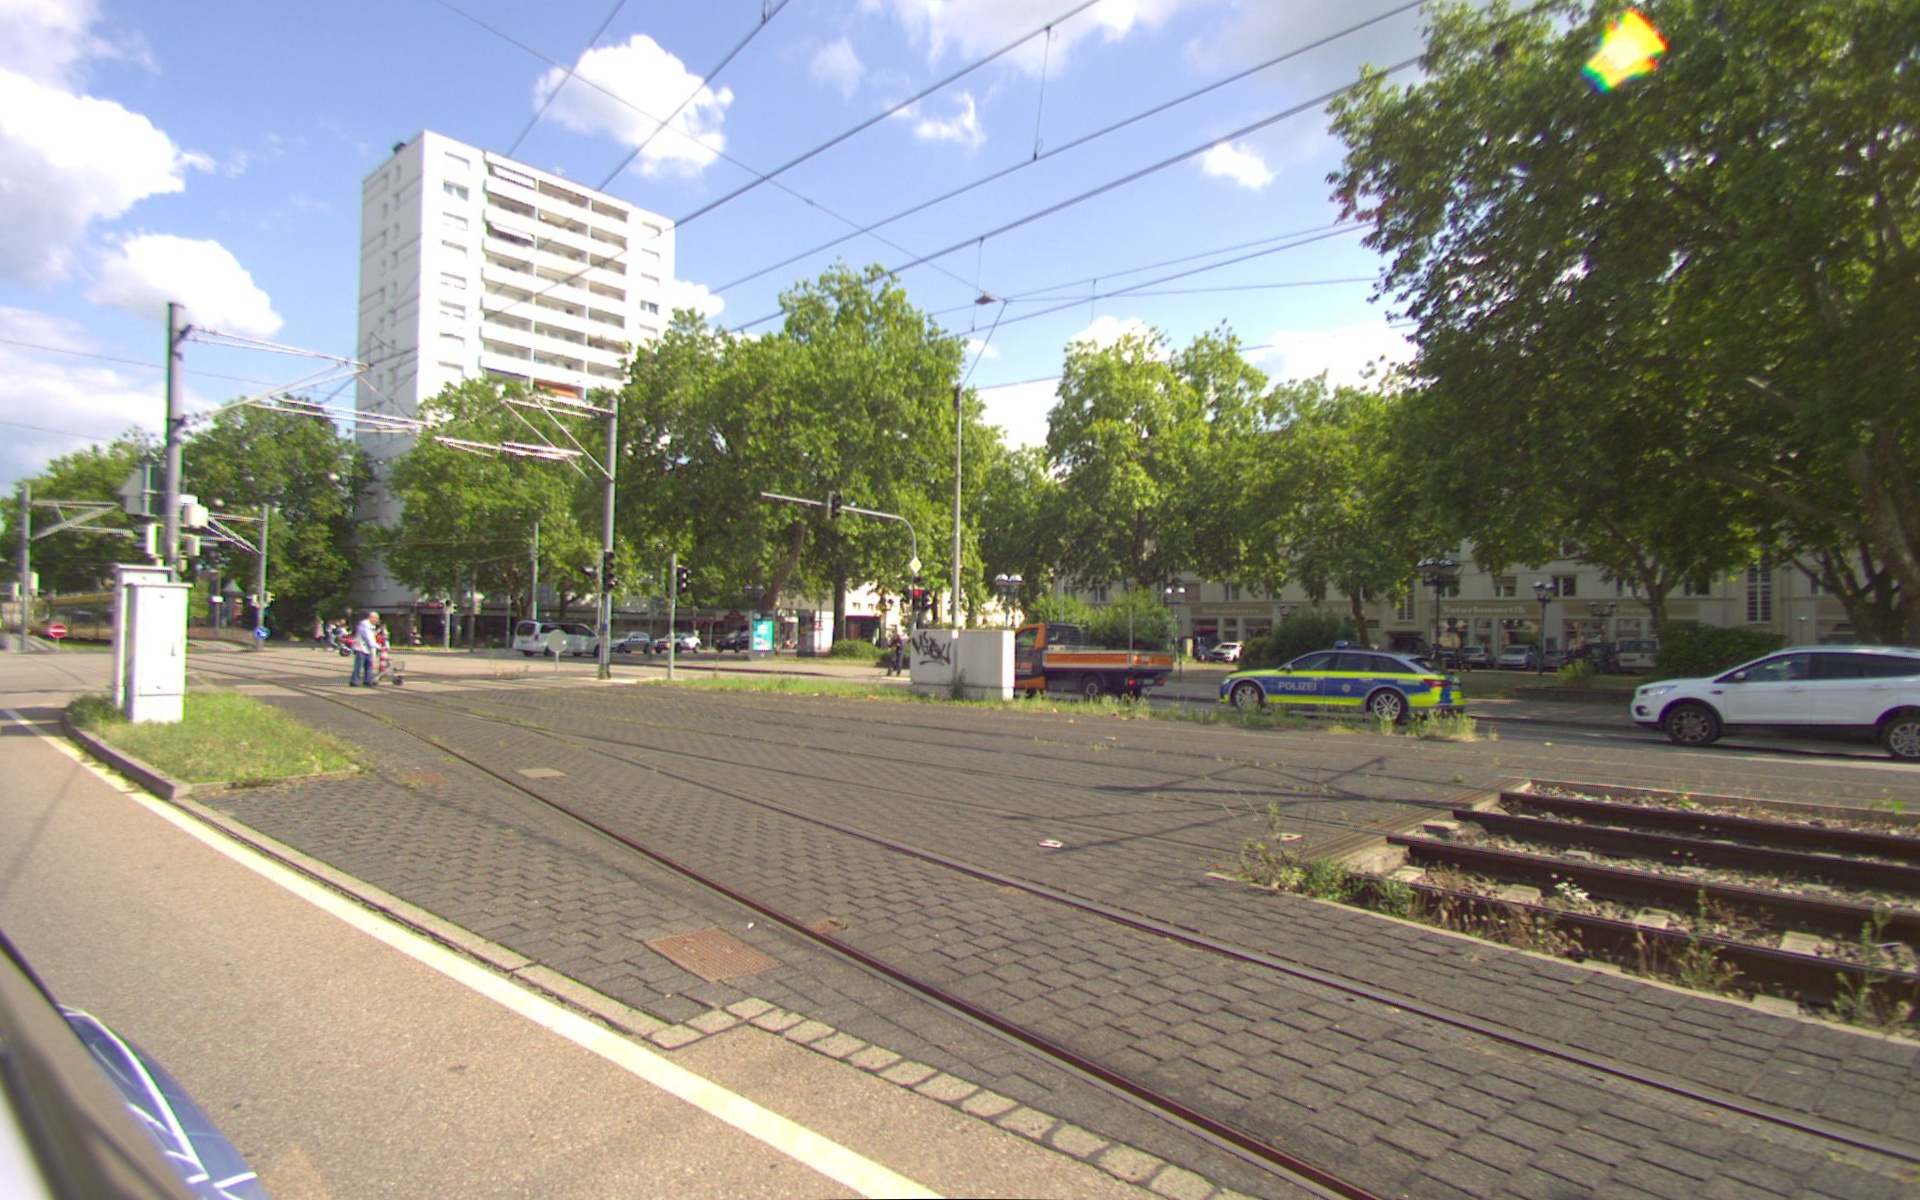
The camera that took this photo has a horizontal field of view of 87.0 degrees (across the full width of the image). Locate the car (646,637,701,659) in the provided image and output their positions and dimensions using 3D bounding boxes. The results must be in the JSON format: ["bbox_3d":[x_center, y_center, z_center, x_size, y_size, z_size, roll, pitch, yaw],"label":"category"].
[{"bbox_3d":[-20.912,3.486,73.953,1.847,1.501,4.048,0,-3,20],"label":"car"}]

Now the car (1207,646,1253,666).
[{"bbox_3d":[19.198,3.961,71.820,1.866,1.364,3.895,-1,-3,36],"label":"car"}]

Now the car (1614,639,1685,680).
[{"bbox_3d":[37.460,3.227,54.938,3.872,2.029,2.259,6,-5,-41],"label":"car"}]

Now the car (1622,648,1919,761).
[{"bbox_3d":[13.422,1.592,16.016,4.677,1.619,1.741,-3,-4,42],"label":"car"}]

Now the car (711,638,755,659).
[{"bbox_3d":[-18.225,3.900,81.440,1.677,1.632,3.974,0,-2,19],"label":"car"}]

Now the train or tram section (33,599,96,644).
[{"bbox_3d":[-73.711,1.763,83.245,8.904,3.509,2.737,-1,-3,42],"label":"train or tram section"}]

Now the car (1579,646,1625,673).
[{"bbox_3d":[41.685,3.837,65.705,2.080,1.672,4.030,-1,-3,39],"label":"car"}]

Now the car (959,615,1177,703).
[{"bbox_3d":[2.628,1.500,25.763,5.333,2.002,2.053,-3,-4,42],"label":"car"}]

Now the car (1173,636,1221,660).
[{"bbox_3d":[17.372,3.530,74.027,1.996,1.697,3.950,-1,-3,36],"label":"car"}]

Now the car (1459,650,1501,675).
[{"bbox_3d":[36.375,4.347,70.785,1.850,1.672,4.030,-1,-3,39],"label":"car"}]

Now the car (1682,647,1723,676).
[{"bbox_3d":[45.809,3.773,62.391,1.850,1.672,4.030,-1,-3,39],"label":"car"}]

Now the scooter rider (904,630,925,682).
[{"bbox_3d":[-1.639,1.980,36.245,0.535,1.824,0.682,0,-1,-23],"label":"scooter rider"}]

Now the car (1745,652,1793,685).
[{"bbox_3d":[41.000,3.446,51.297,1.850,1.545,4.030,-1,-3,39],"label":"car"}]

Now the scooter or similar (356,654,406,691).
[{"bbox_3d":[-13.240,1.641,23.145,0.553,0.810,0.830,-1,-3,37],"label":"scooter or similar"}]

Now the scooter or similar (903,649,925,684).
[{"bbox_3d":[-1.656,2.375,36.261,0.535,1.180,0.879,0,-1,-23],"label":"scooter or similar"}]

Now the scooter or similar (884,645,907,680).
[{"bbox_3d":[-2.359,2.283,36.900,0.541,1.235,0.871,0,-1,19],"label":"scooter or similar"}]

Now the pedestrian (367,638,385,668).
[{"bbox_3d":[-33.936,3.091,58.804,0.648,1.716,0.662,-1,-3,44],"label":"pedestrian"}]

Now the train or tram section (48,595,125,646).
[{"bbox_3d":[-65.903,1.544,76.196,12.153,3.588,2.776,-1,-3,42],"label":"train or tram section"}]

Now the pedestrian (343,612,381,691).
[{"bbox_3d":[-13.484,1.157,22.832,0.556,1.746,0.521,-1,-3,37],"label":"pedestrian"}]

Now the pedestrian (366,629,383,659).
[{"bbox_3d":[-33.380,2.497,57.711,0.648,1.716,0.662,-1,-3,44],"label":"pedestrian"}]

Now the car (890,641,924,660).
[{"bbox_3d":[-4.571,4.380,88.288,1.676,1.513,3.976,0,-2,18],"label":"car"}]

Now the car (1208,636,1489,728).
[{"bbox_3d":[7.941,1.632,21.066,5.152,1.665,1.847,-1,-5,42],"label":"car"}]

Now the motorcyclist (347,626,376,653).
[{"bbox_3d":[-27.217,1.800,46.039,0.962,1.227,0.699,3,-3,-42],"label":"motorcyclist"}]

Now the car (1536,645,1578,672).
[{"bbox_3d":[39.729,3.868,67.290,1.850,1.672,4.030,-1,-3,39],"label":"car"}]

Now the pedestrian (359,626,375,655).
[{"bbox_3d":[-35.723,2.459,60.953,0.648,1.716,0.662,-1,-3,44],"label":"pedestrian"}]

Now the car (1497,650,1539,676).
[{"bbox_3d":[37.956,4.273,68.813,1.850,1.672,4.030,-1,-3,39],"label":"car"}]

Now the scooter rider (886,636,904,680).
[{"bbox_3d":[-2.366,2.110,36.907,0.541,1.605,0.435,0,-1,20],"label":"scooter rider"}]

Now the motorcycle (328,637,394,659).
[{"bbox_3d":[-27.228,2.196,46.022,2.467,0.984,0.699,3,-3,-42],"label":"motorcycle"}]

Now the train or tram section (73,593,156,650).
[{"bbox_3d":[-57.211,1.468,68.346,11.180,3.588,2.775,-1,-3,42],"label":"train or tram section"}]

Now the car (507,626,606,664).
[{"bbox_3d":[-21.552,2.364,54.335,1.986,1.906,5.133,-1,-2,22],"label":"car"}]

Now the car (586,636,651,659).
[{"bbox_3d":[-22.850,3.166,67.847,1.850,1.501,3.966,0,-3,25],"label":"car"}]

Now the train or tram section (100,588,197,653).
[{"bbox_3d":[-48.874,1.288,60.768,11.375,3.588,2.765,-1,-3,43],"label":"train or tram section"}]
